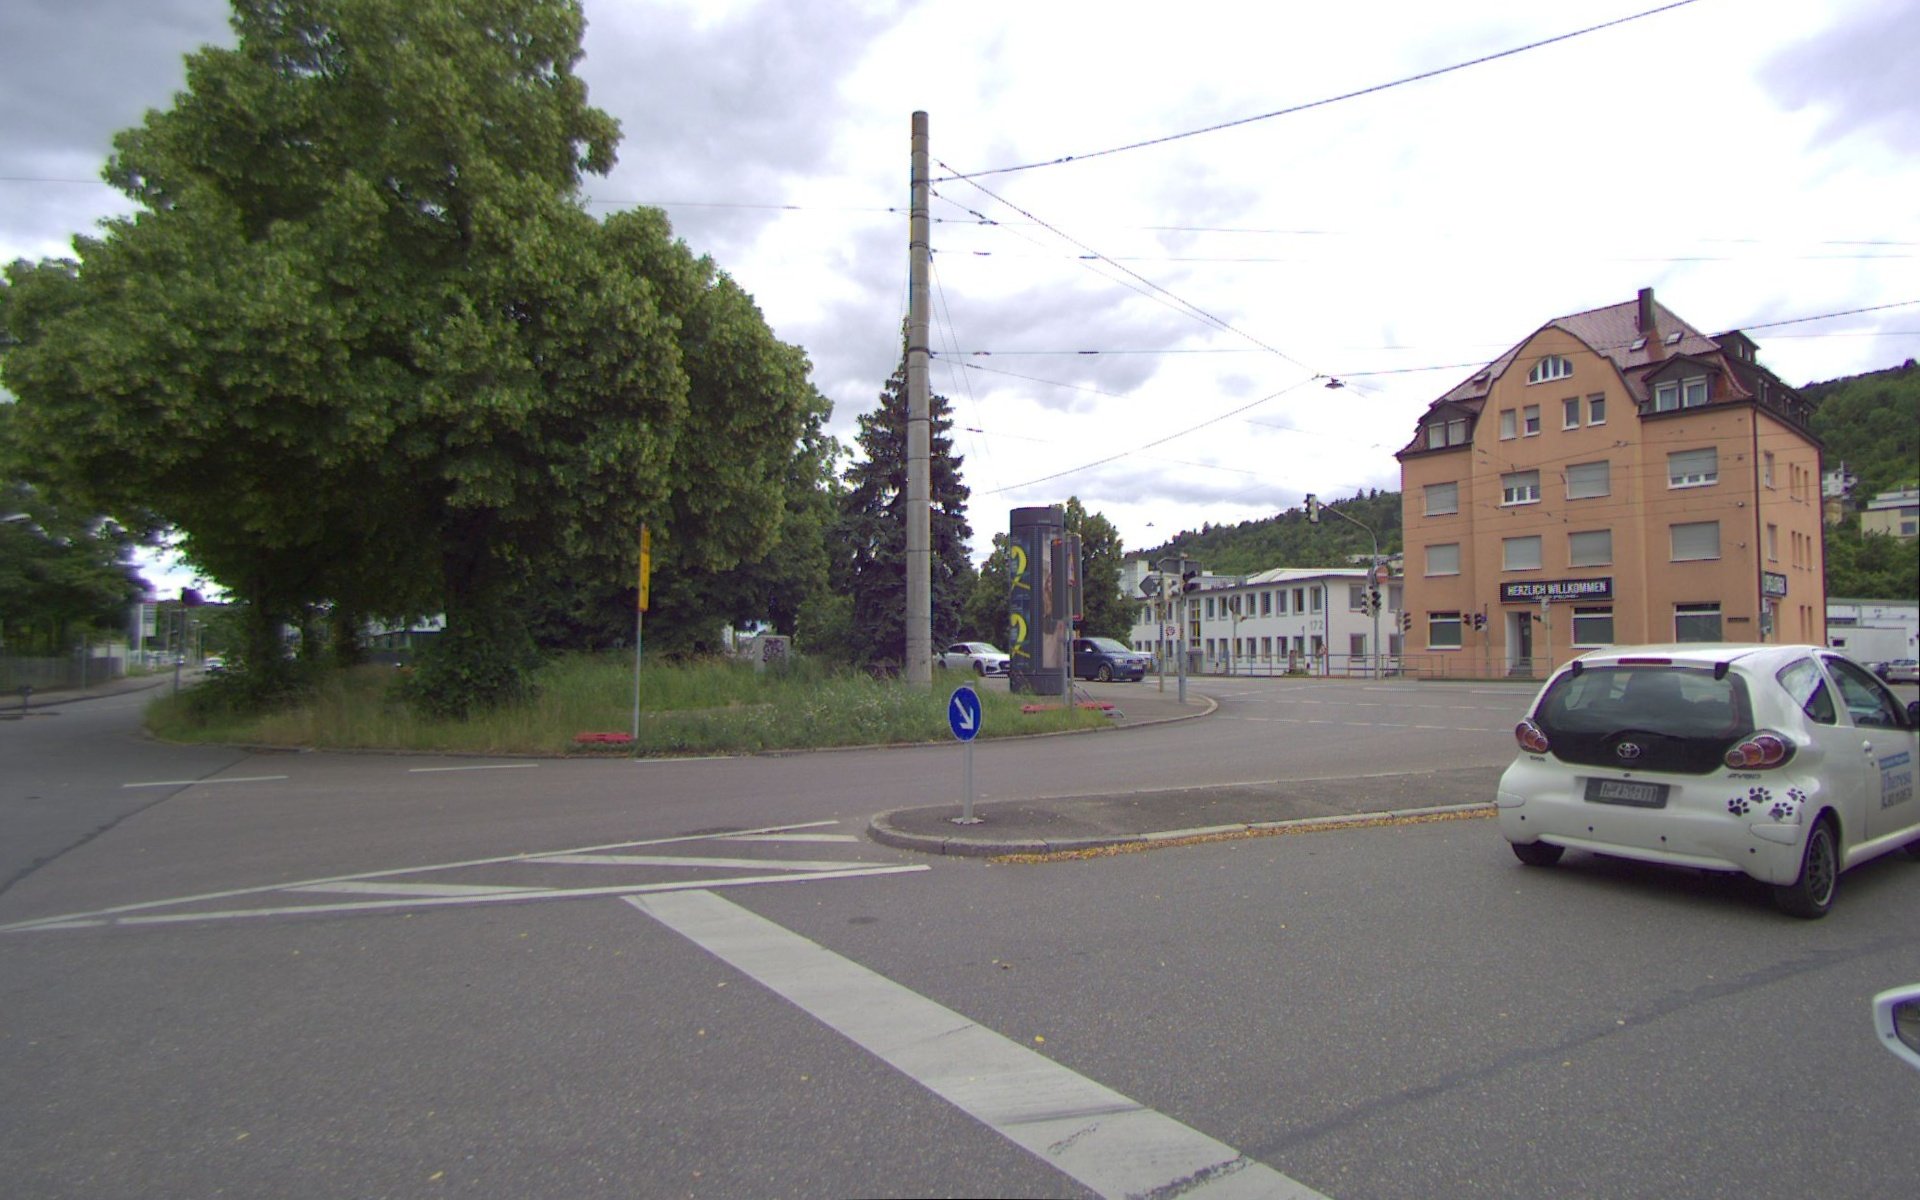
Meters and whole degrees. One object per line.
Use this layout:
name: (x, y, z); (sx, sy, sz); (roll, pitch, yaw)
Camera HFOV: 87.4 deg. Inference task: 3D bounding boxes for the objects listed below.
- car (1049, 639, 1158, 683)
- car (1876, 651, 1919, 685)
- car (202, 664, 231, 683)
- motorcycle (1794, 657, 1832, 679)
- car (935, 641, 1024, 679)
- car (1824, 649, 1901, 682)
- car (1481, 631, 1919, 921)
car: (4.908, 2.081, 34.744); (1.731, 1.410, 3.670); (1, -3, -33)
car: (57.812, 4.127, 60.763); (4.451, 1.863, 1.987); (2, 0, -26)
car: (-81.134, 8.019, 109.648); (1.810, 1.970, 4.538); (1, -3, -28)
motorcycle: (43.433, 3.449, 51.181); (0.518, 0.997, 1.710); (2, 0, 4)
car: (0.747, 2.433, 40.951); (1.729, 1.445, 4.132); (1, -3, -31)
car: (56.472, 4.086, 62.852); (4.449, 1.863, 1.988); (2, 0, -25)
car: (5.109, 0.961, 6.632); (3.340, 1.439, 1.583); (2, -4, -35)
